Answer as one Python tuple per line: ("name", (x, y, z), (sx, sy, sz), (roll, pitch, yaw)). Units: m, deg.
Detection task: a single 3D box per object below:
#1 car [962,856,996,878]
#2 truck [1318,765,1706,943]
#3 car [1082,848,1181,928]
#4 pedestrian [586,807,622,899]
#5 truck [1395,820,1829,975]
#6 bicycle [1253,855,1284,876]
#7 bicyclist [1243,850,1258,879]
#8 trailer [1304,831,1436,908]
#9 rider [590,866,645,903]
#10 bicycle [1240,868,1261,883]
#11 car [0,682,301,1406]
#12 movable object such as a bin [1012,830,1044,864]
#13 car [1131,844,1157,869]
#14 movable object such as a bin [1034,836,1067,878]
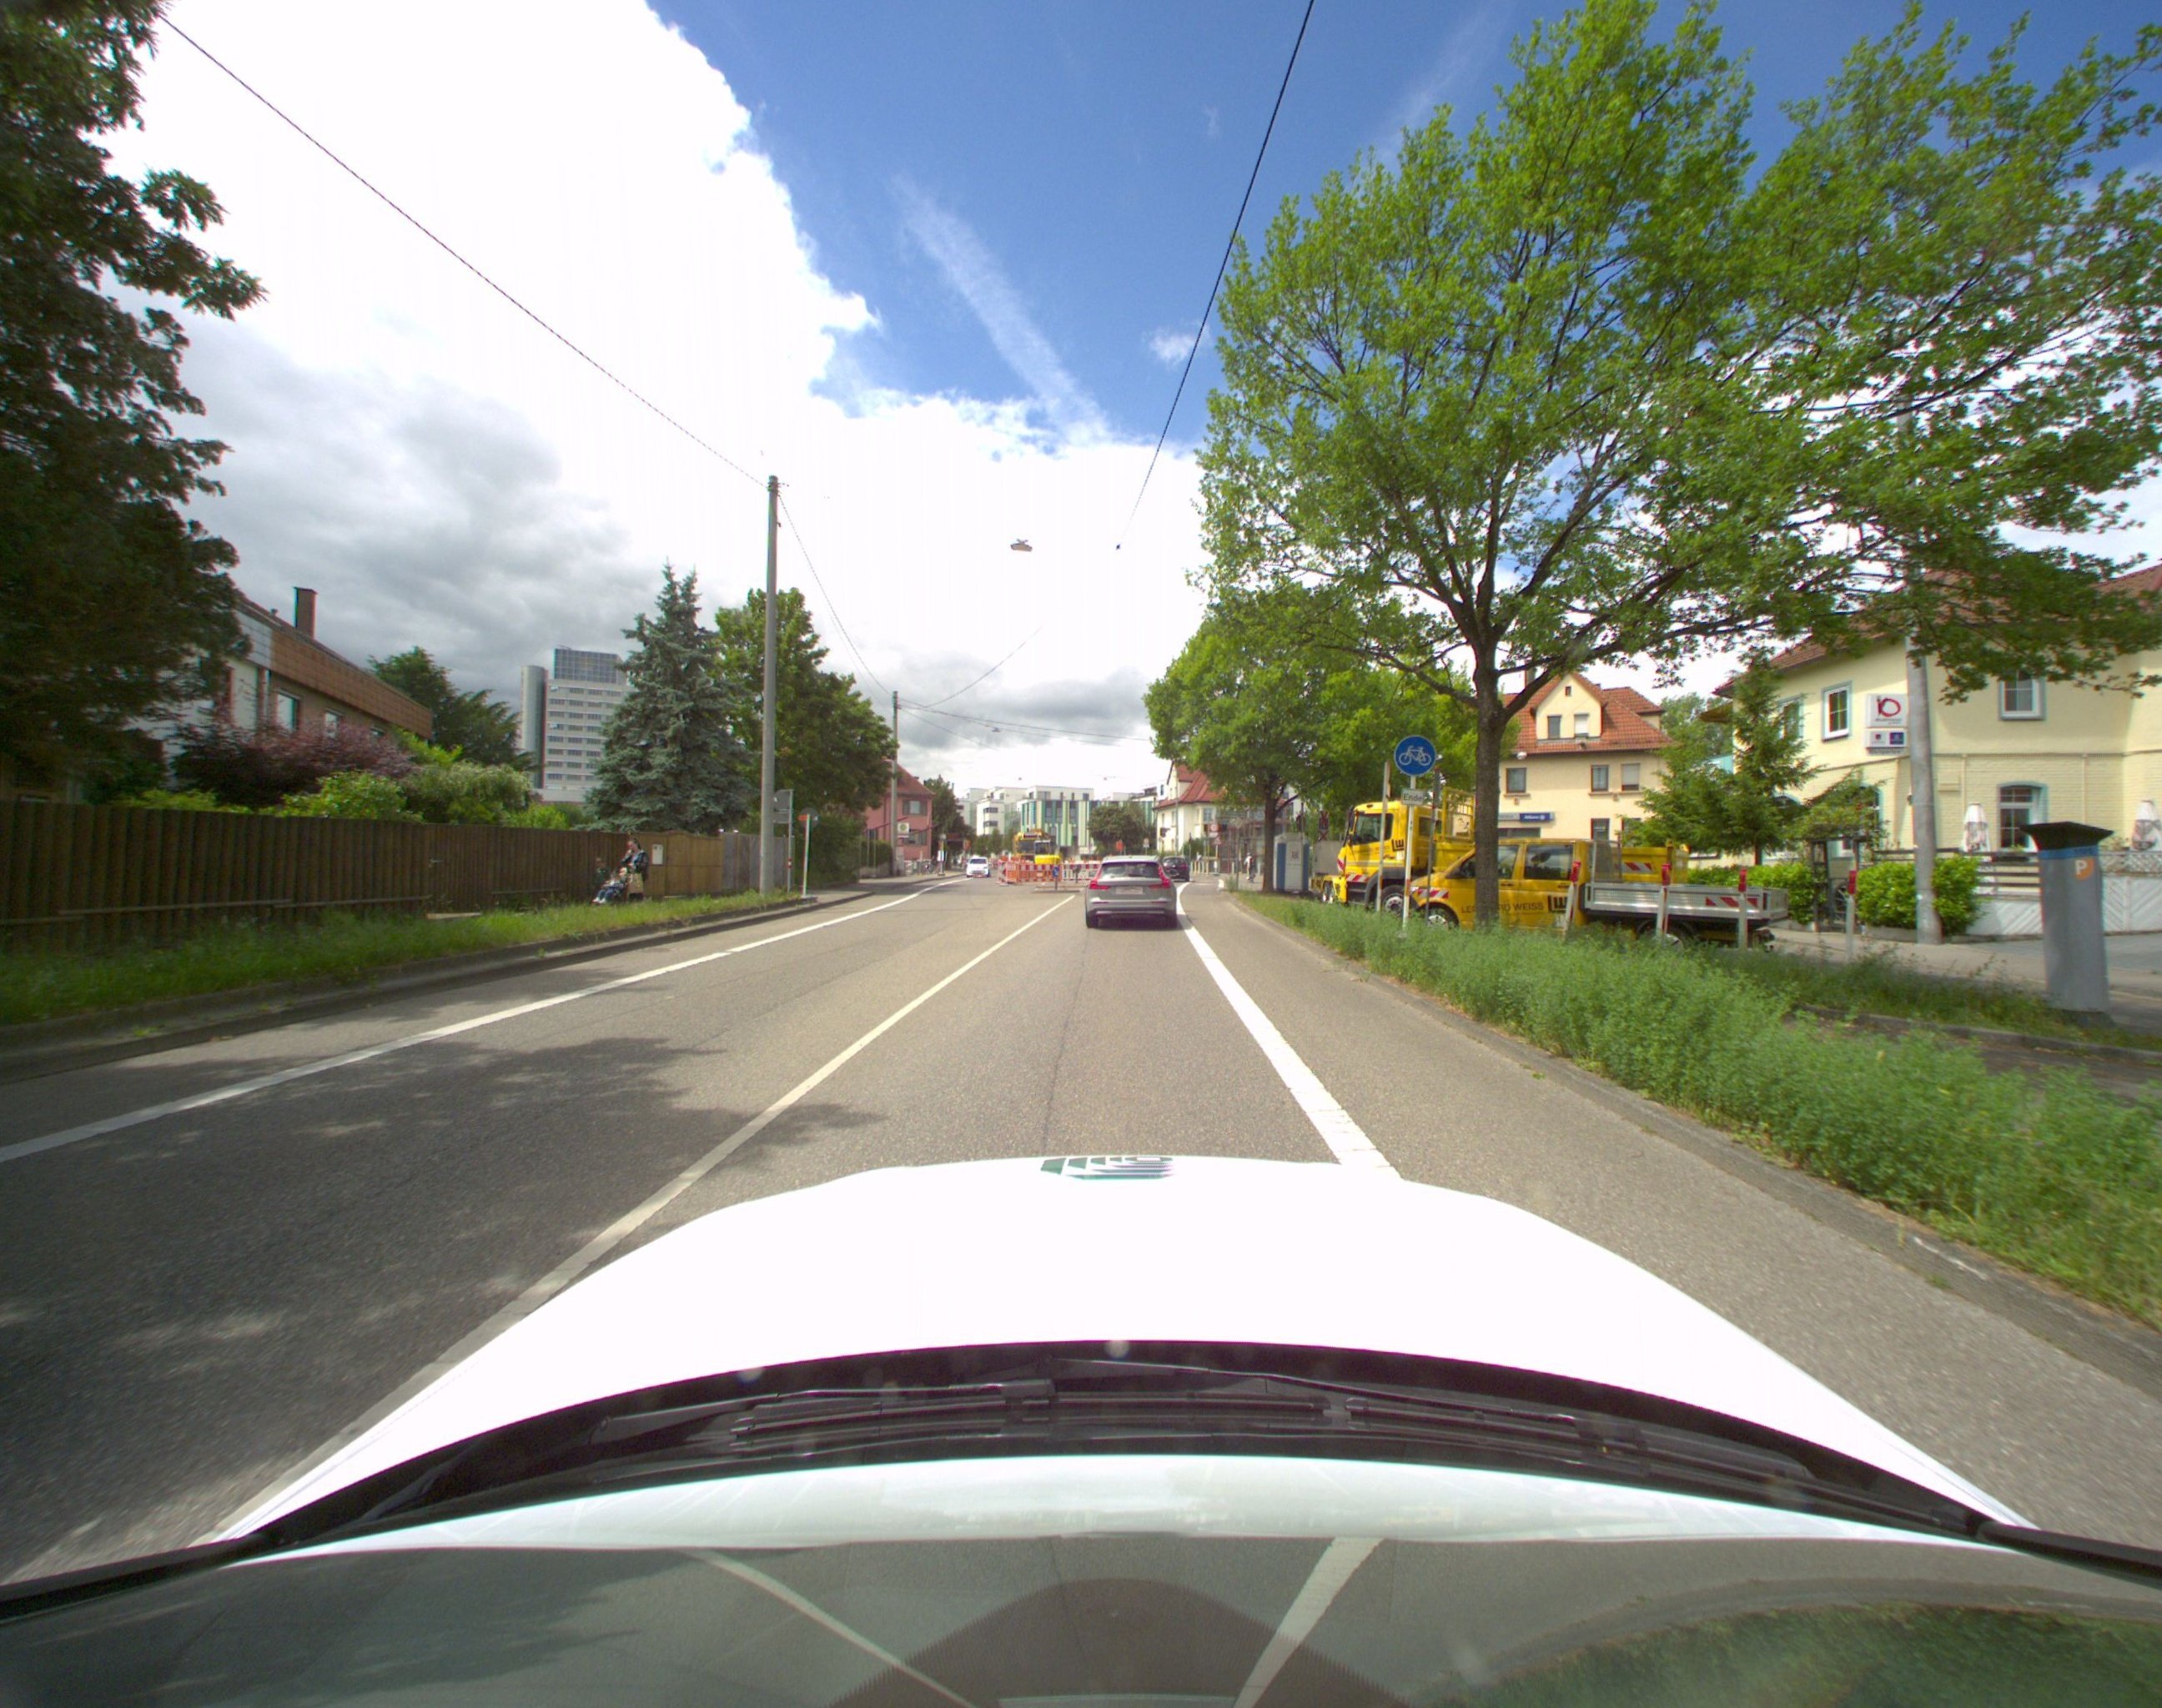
("car", (-7.553, 0.994, 60.700), (1.880, 1.508, 4.002), (-2, -2, 2))
("truck", (8.759, 0.000, 17.112), (6.623, 3.008, 2.786), (2, -2, 44))
("car", (1.170, 0.656, 17.716), (1.918, 1.540, 4.006), (0, 0, 6))
("pedestrian", (-10.567, -0.022, 18.051), (0.401, 2.014, 0.414), (3, -2, 0))
("truck", (8.354, 0.571, 13.375), (2.010, 2.014, 5.610), (5, -2, -42))
("bicycle", (12.625, 0.732, 54.996), (1.385, 1.190, 3.475), (3, 2, 3))
("bicyclist", (9.445, 0.591, 45.427), (0.588, 1.559, 0.565), (3, -2, -6))
("trailer", (8.571, 0.445, 24.826), (2.378, 2.032, 5.518), (2, -1, 4))
("rider", (-9.758, 0.642, 17.153), (0.727, 0.735, 0.689), (3, -2, -4))
("bicycle", (9.431, 1.187, 45.301), (0.593, 0.812, 1.750), (3, -1, -6))
("car", (-3.750, 0.496, 0.615), (1.842, 1.875, 4.594), (-1, 0, 1))
("movable object such as a bin", (-5.008, -0.620, 76.123), (2.310, 2.990, 6.405), (0, 0, -10))
("car", (5.458, 0.246, 70.163), (1.984, 2.014, 4.005), (3, -2, 6))
("movable object such as a bin", (-1.992, 0.180, 53.680), (2.029, 2.643, 5.935), (0, 0, -2))
